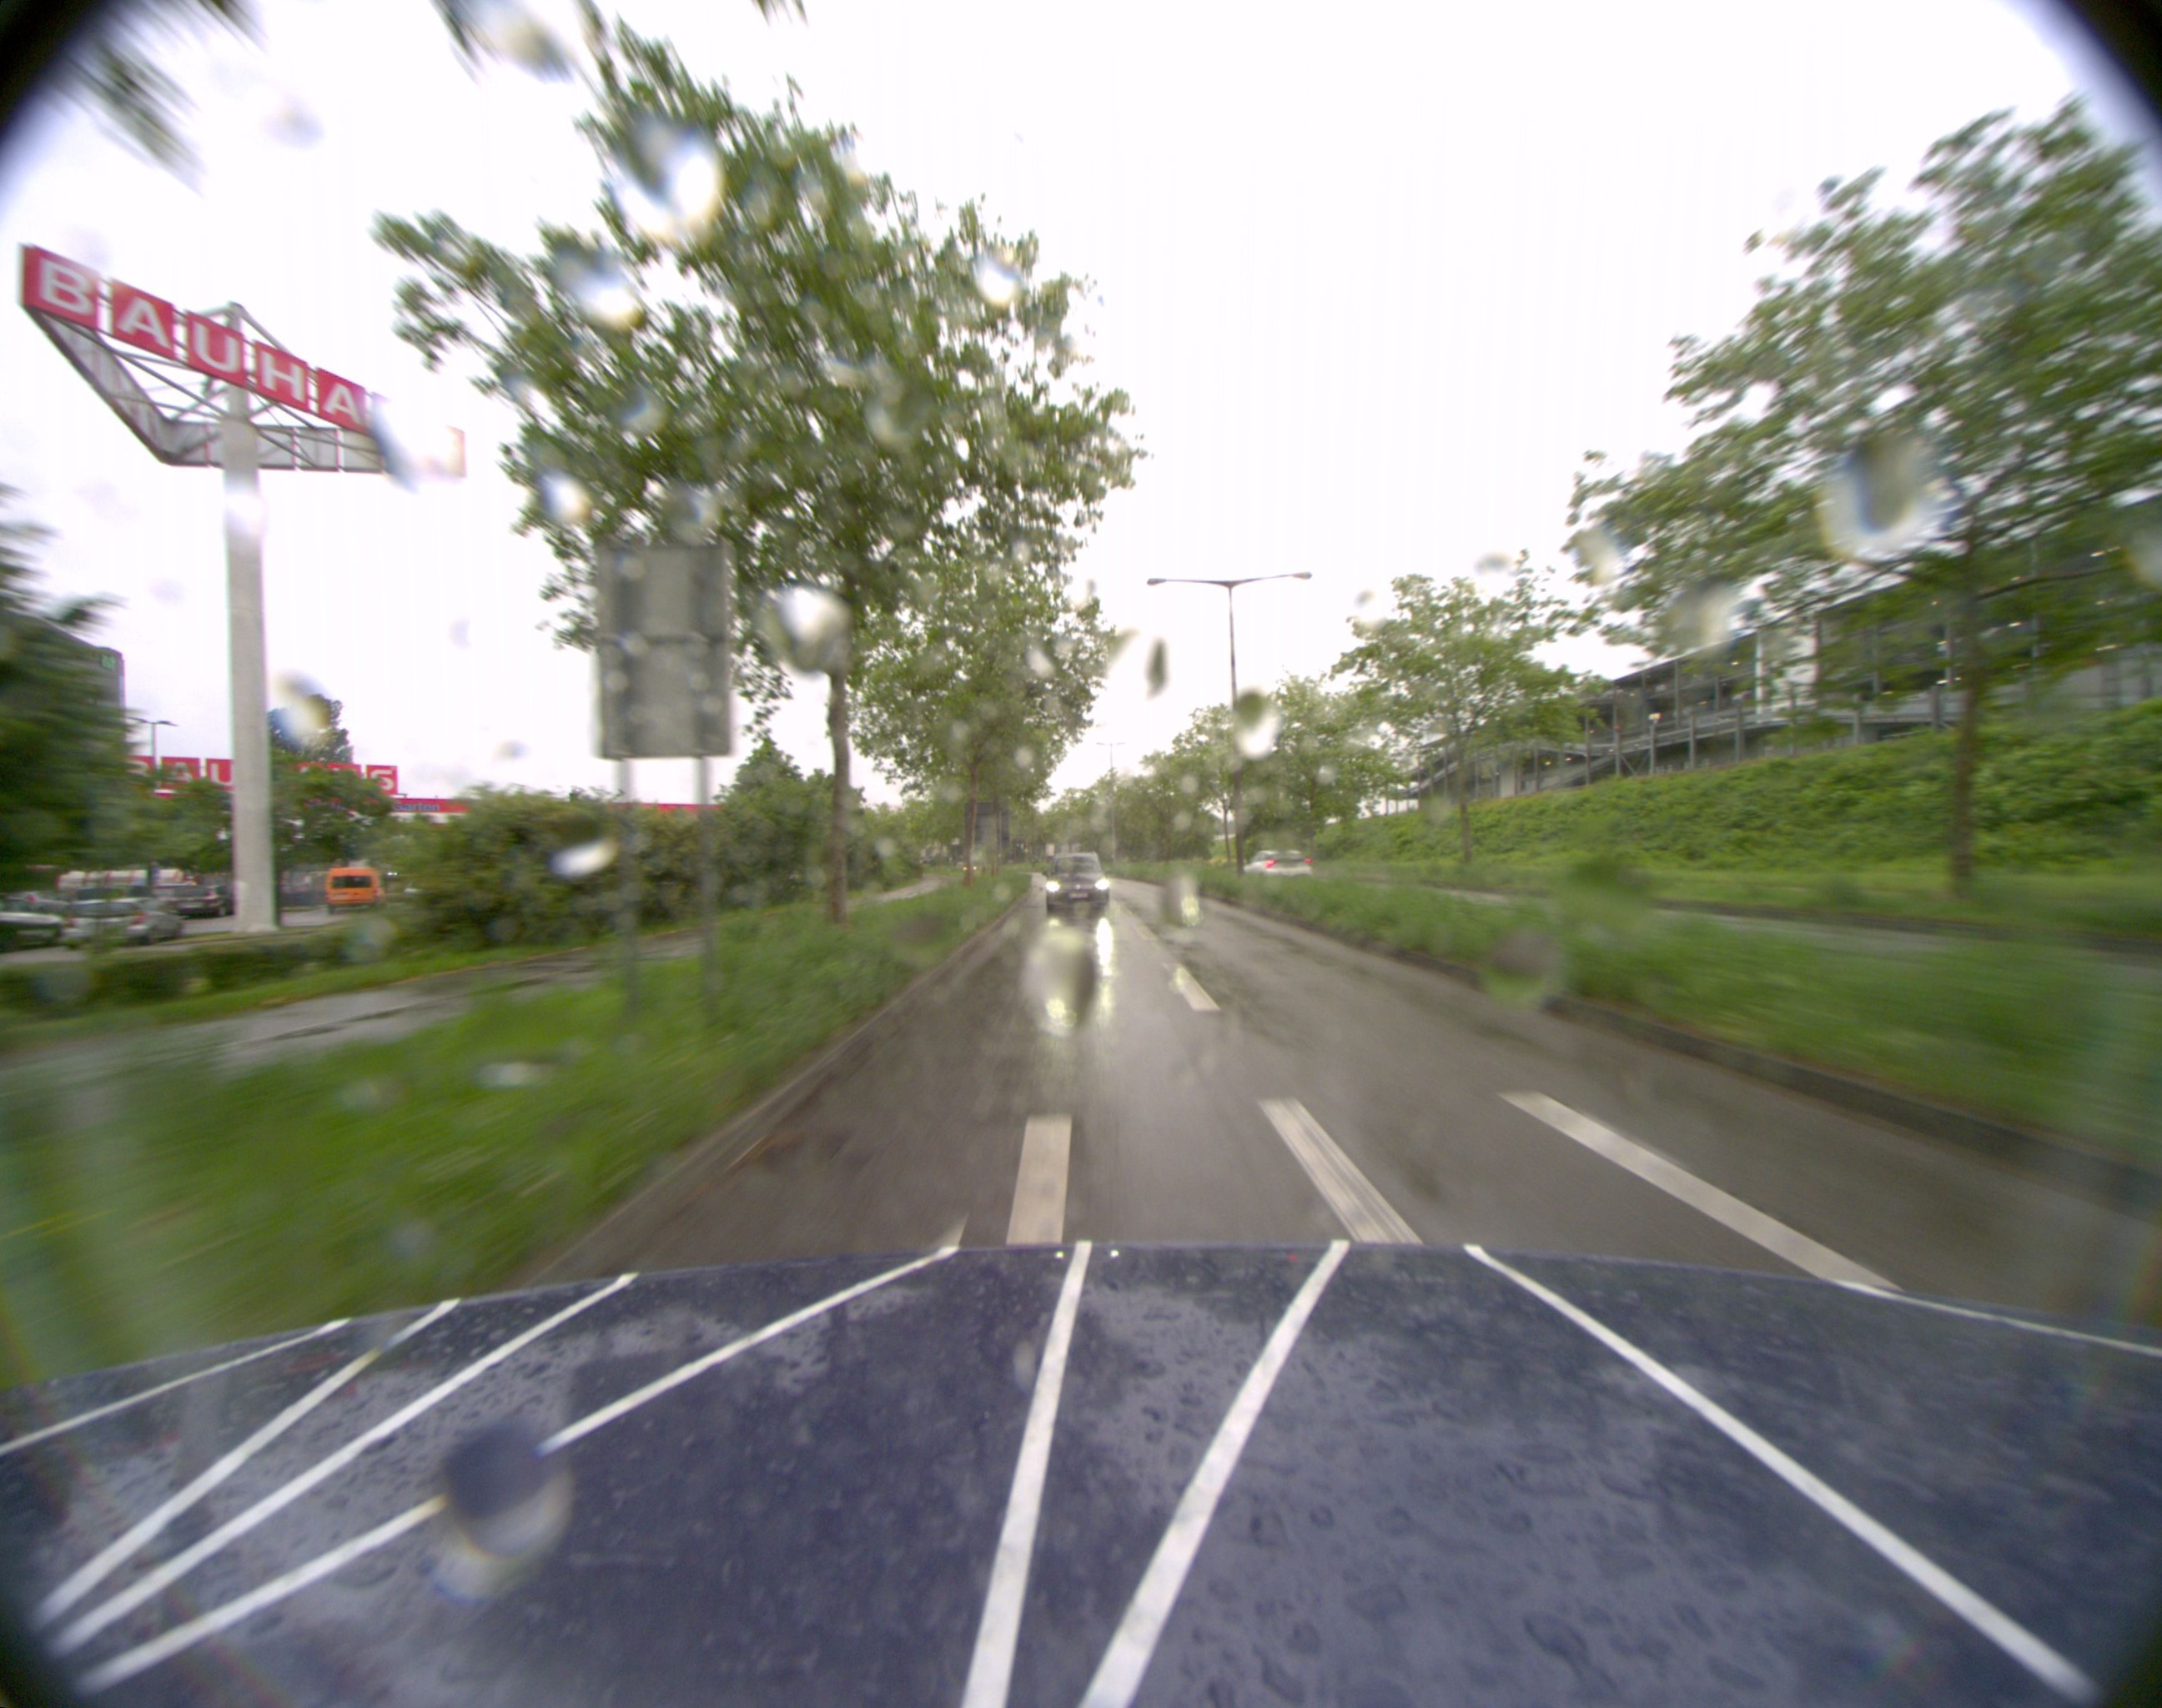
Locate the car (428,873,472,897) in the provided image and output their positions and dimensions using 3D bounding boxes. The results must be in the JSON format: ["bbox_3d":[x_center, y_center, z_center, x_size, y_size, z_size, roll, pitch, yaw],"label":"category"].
[{"bbox_3d":[-46.994,2.296,56.692,1.757,1.624,3.838,-2,0,-29],"label":"car"}]

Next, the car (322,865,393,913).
[{"bbox_3d":[-39.389,1.859,41.507,2.284,2.353,5.664,-2,0,-39],"label":"car"}]

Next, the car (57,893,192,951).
[{"bbox_3d":[-32.038,2.207,25.616,1.943,1.625,4.327,-3,0,-40],"label":"car"}]

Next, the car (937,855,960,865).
[{"bbox_3d":[-25.895,1.173,148.705,1.860,1.650,4.007,-2,2,40],"label":"car"}]

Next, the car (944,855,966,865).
[{"bbox_3d":[-24.442,1.126,147.384,1.860,1.650,4.007,-2,2,40],"label":"car"}]

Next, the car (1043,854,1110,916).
[{"bbox_3d":[-0.124,0.834,23.004,1.788,1.605,4.716,-1,1,0],"label":"car"}]

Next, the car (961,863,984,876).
[{"bbox_3d":[-14.423,2.005,100.835,2.002,1.641,3.993,-3,1,-21],"label":"car"}]

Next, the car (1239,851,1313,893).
[{"bbox_3d":[7.718,0.672,30.462,1.706,1.486,4.203,-2,0,-2],"label":"car"}]

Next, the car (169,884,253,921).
[{"bbox_3d":[-43.972,2.387,38.501,1.943,1.625,4.328,-3,0,-38],"label":"car"}]

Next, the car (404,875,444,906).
[{"bbox_3d":[-40.646,2.223,47.061,1.758,1.734,3.610,-2,0,-40],"label":"car"}]
